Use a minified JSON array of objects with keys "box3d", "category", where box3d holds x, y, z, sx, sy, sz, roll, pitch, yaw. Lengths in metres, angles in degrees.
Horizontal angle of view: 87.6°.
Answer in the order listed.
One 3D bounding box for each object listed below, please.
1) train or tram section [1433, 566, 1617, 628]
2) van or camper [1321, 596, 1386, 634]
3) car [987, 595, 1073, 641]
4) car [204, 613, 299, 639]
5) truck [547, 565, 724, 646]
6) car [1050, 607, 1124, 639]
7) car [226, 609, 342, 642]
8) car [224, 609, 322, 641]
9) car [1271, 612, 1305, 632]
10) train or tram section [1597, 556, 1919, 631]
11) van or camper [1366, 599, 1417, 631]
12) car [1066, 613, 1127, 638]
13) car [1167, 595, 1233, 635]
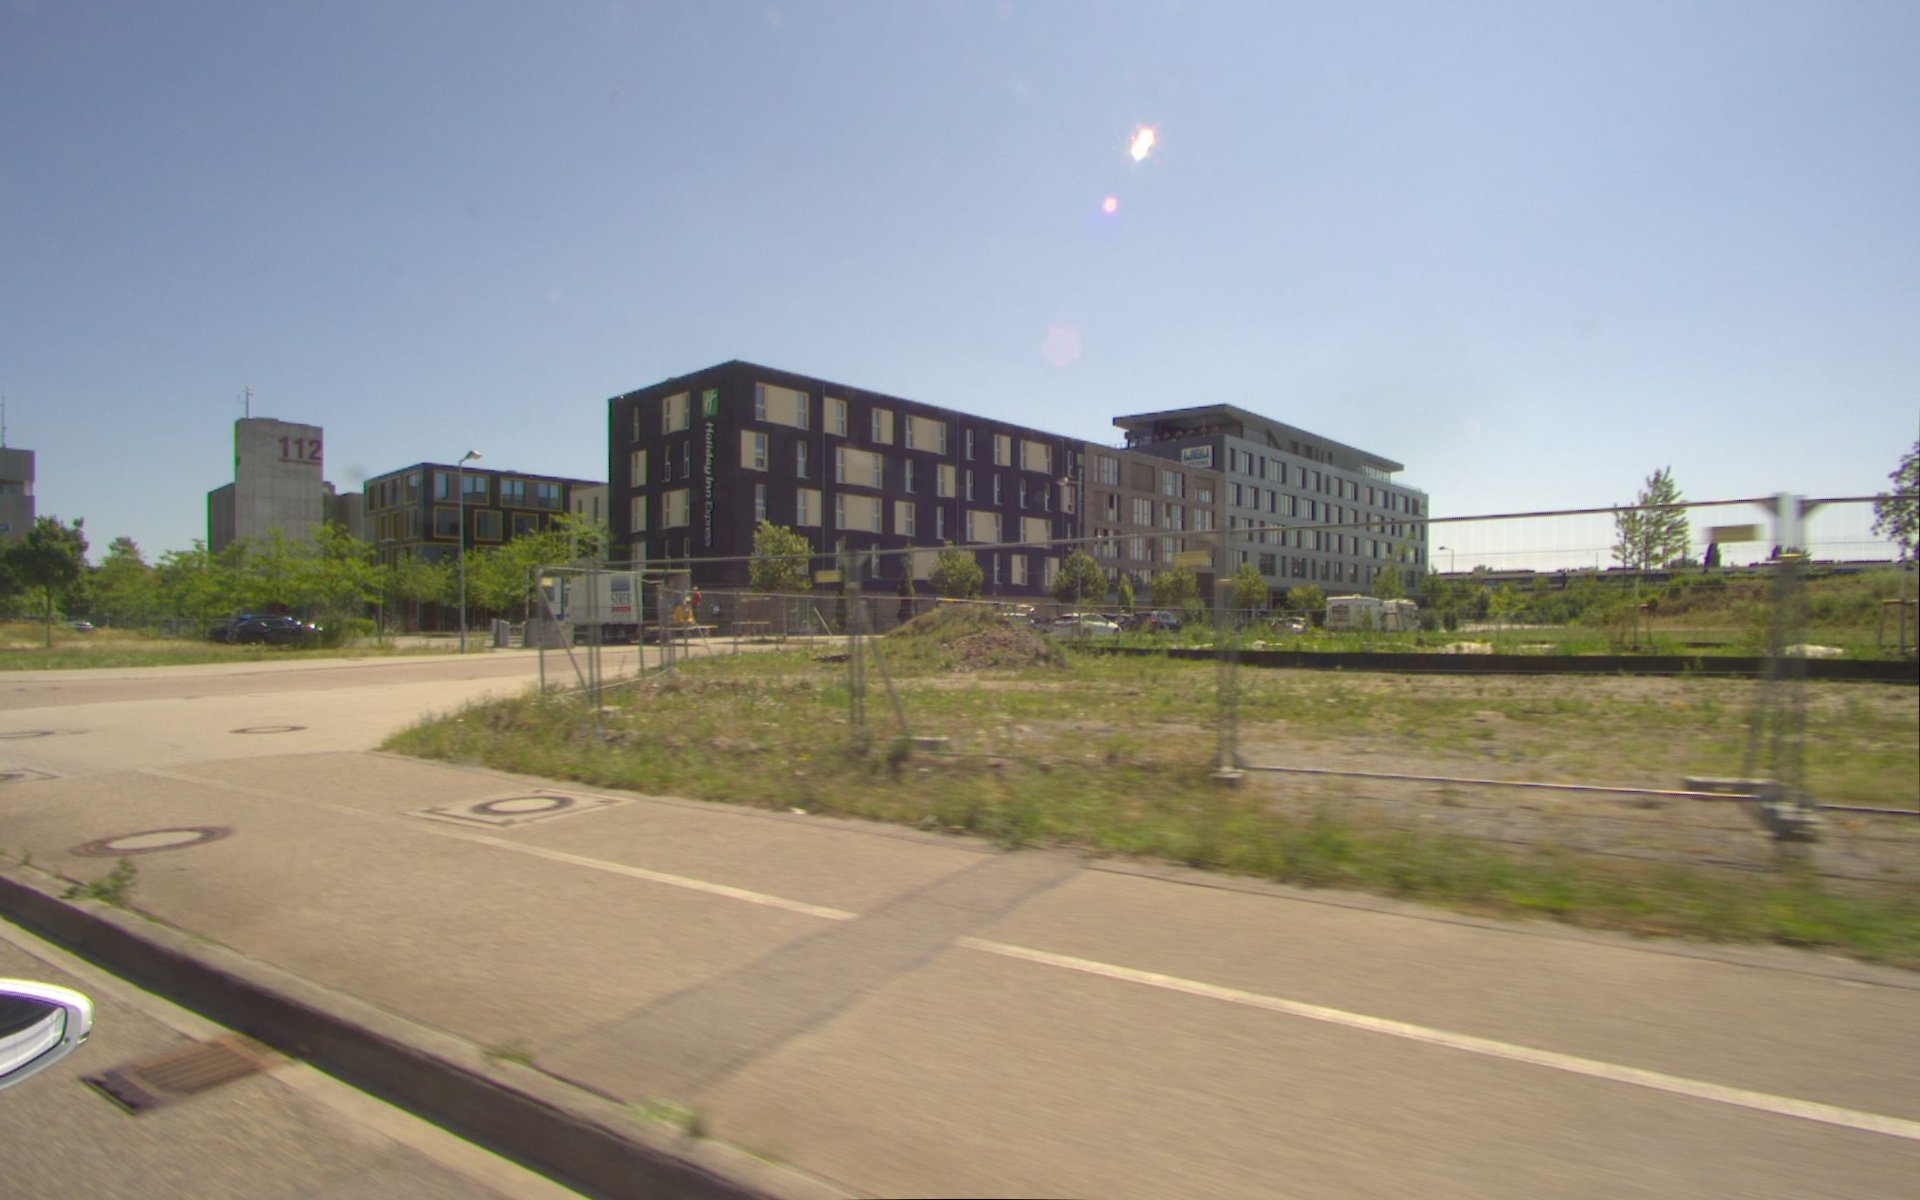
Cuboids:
[{"box3d":[98.698,-0.314,176.123,9.498,10.054,26.767,1,-1,-41],"category":"train or tram section"},{"box3d":[30.566,1.163,77.603,2.538,2.812,6.370,0,-1,43],"category":"van or camper"},{"box3d":[3.289,0.827,46.690,3.877,2.040,1.862,1,-1,-43],"category":"car"},{"box3d":[-40.341,1.469,57.084,1.937,1.463,4.099,-1,-1,37],"category":"car"},{"box3d":[-16.071,0.297,48.674,12.015,3.508,2.990,-1,1,45],"category":"truck"},{"box3d":[6.464,1.142,50.892,1.730,1.577,4.009,0,-1,43],"category":"car"},{"box3d":[-33.740,1.250,50.078,2.009,1.582,4.472,0,-1,41],"category":"car"},{"box3d":[-36.775,1.325,53.672,1.933,1.673,4.037,-1,-1,42],"category":"car"},{"box3d":[29.593,2.013,90.284,1.774,1.742,3.394,-2,-4,42],"category":"car"},{"box3d":[121.752,-0.684,149.254,9.500,10.054,44.383,1,-1,-41],"category":"train or tram section"},{"box3d":[36.241,1.251,83.968,2.377,2.568,5.392,0,-1,42],"category":"van or camper"},{"box3d":[9.453,1.752,69.632,3.971,1.722,1.661,0,-1,41],"category":"car"},{"box3d":[13.270,0.867,55.269,1.861,2.038,3.883,-2,-4,43],"category":"car"}]
